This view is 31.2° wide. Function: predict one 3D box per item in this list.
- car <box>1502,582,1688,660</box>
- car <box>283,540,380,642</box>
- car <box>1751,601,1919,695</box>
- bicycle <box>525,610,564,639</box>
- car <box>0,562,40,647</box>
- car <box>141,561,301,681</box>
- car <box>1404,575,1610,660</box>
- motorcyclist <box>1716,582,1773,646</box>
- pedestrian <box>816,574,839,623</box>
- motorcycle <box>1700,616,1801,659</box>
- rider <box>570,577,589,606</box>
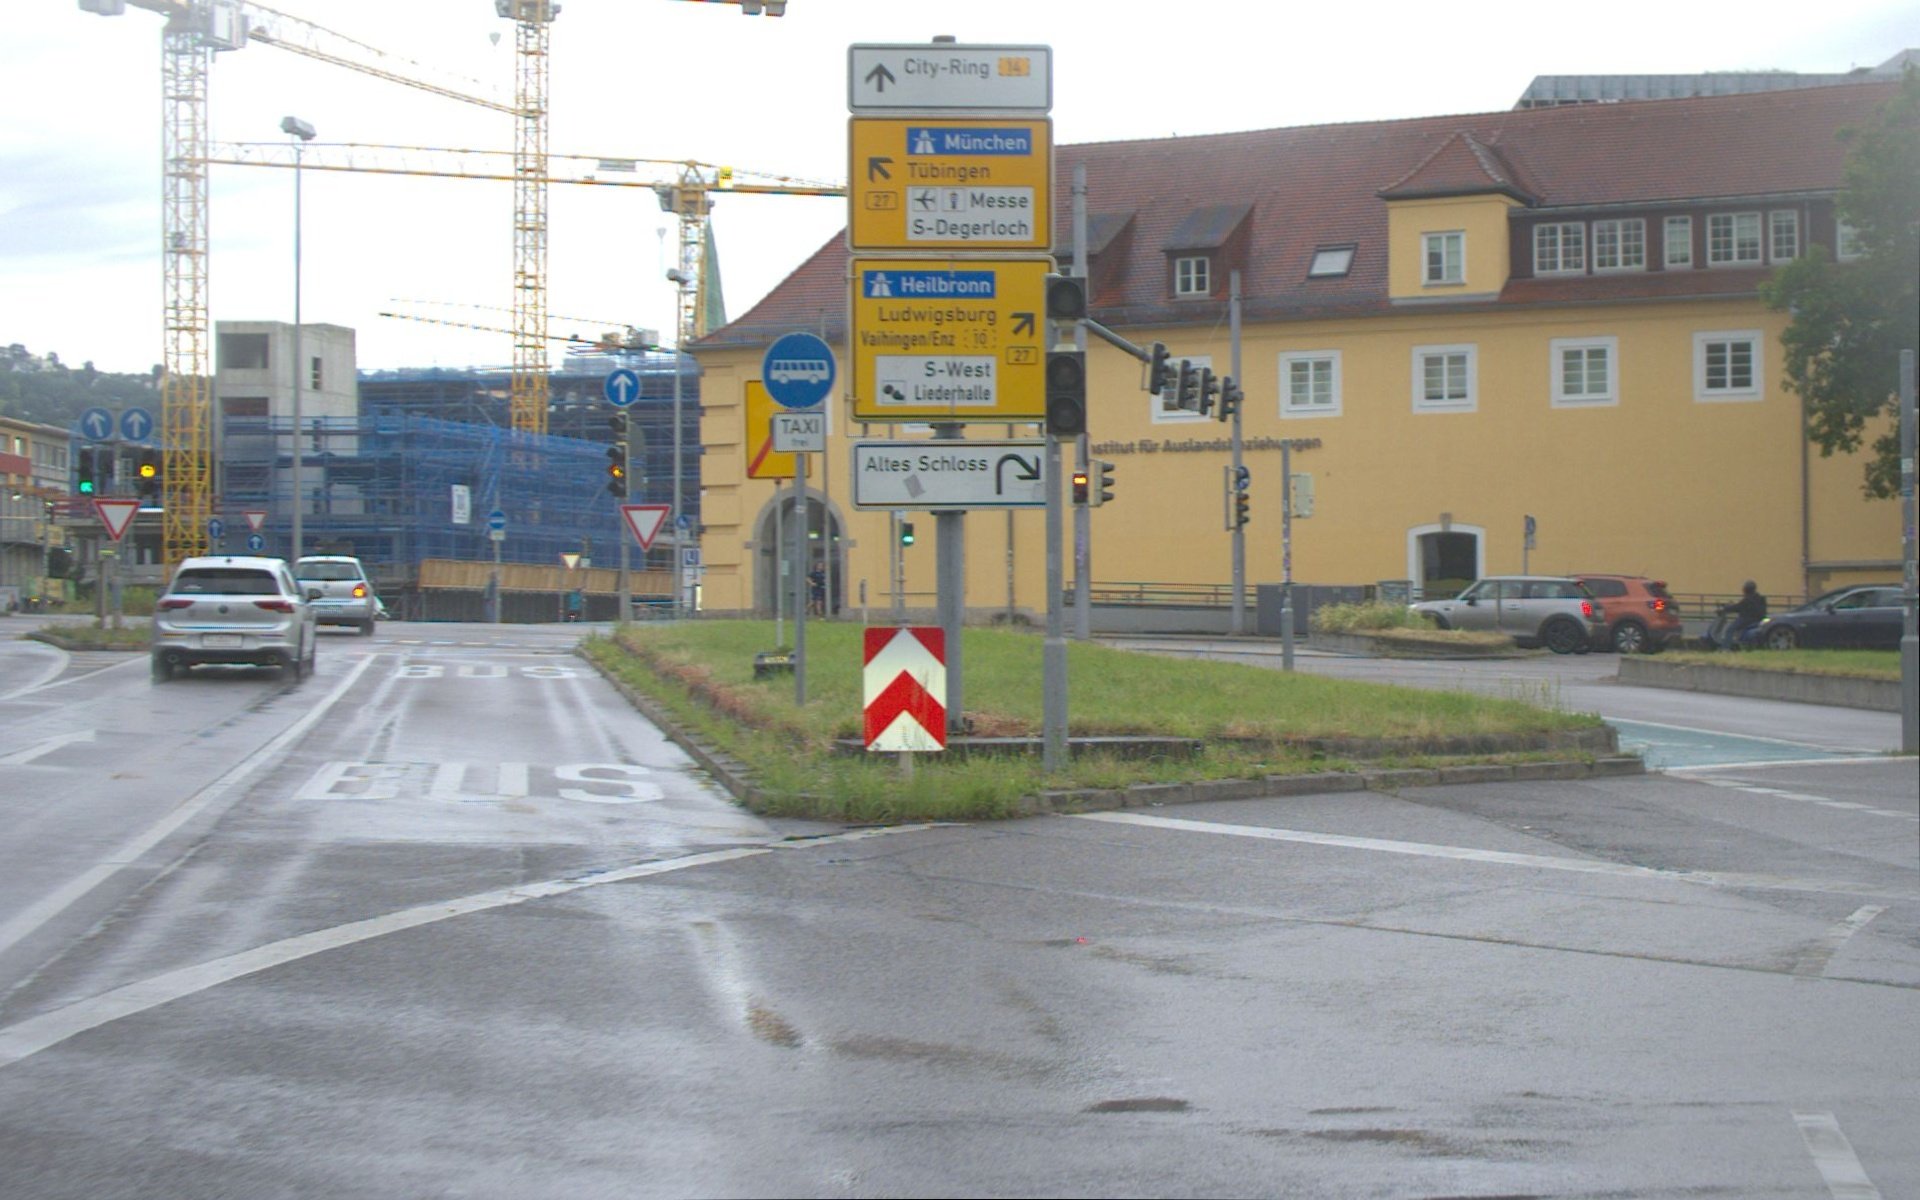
[{"bbox_3d":[12.577,0.419,68.086,3.402,1.467,1.651,1,-1,19],"label":"car"},{"bbox_3d":[-11.737,-0.180,64.073,1.666,1.735,3.289,2,2,-12],"label":"car"},{"bbox_3d":[17.597,0.918,64.805,4.812,1.703,1.995,0,-1,38],"label":"car"},{"bbox_3d":[-14.517,0.858,119.975,0.880,1.006,1.993,2,-1,-21],"label":"bicycle"},{"bbox_3d":[-16.135,0.076,56.400,1.493,1.365,3.034,1,-1,-6],"label":"car"},{"bbox_3d":[-8.777,0.264,40.945,1.444,1.354,2.412,1,-1,-2],"label":"car"},{"bbox_3d":[10.023,0.327,62.916,3.405,1.477,1.833,1,-1,21],"label":"car"},{"bbox_3d":[15.918,0.285,69.741,1.076,1.269,0.691,1,-1,16],"label":"motorcyclist"},{"bbox_3d":[-3.721,-0.031,96.477,0.455,1.363,0.443,0,-1,33],"label":"pedestrian"},{"bbox_3d":[16.044,0.762,69.780,1.965,0.850,0.545,1,-1,17],"label":"motorcycle"},{"bbox_3d":[-13.839,-0.293,125.085,0.618,1.035,0.533,1,-1,-3],"label":"rider"}]
